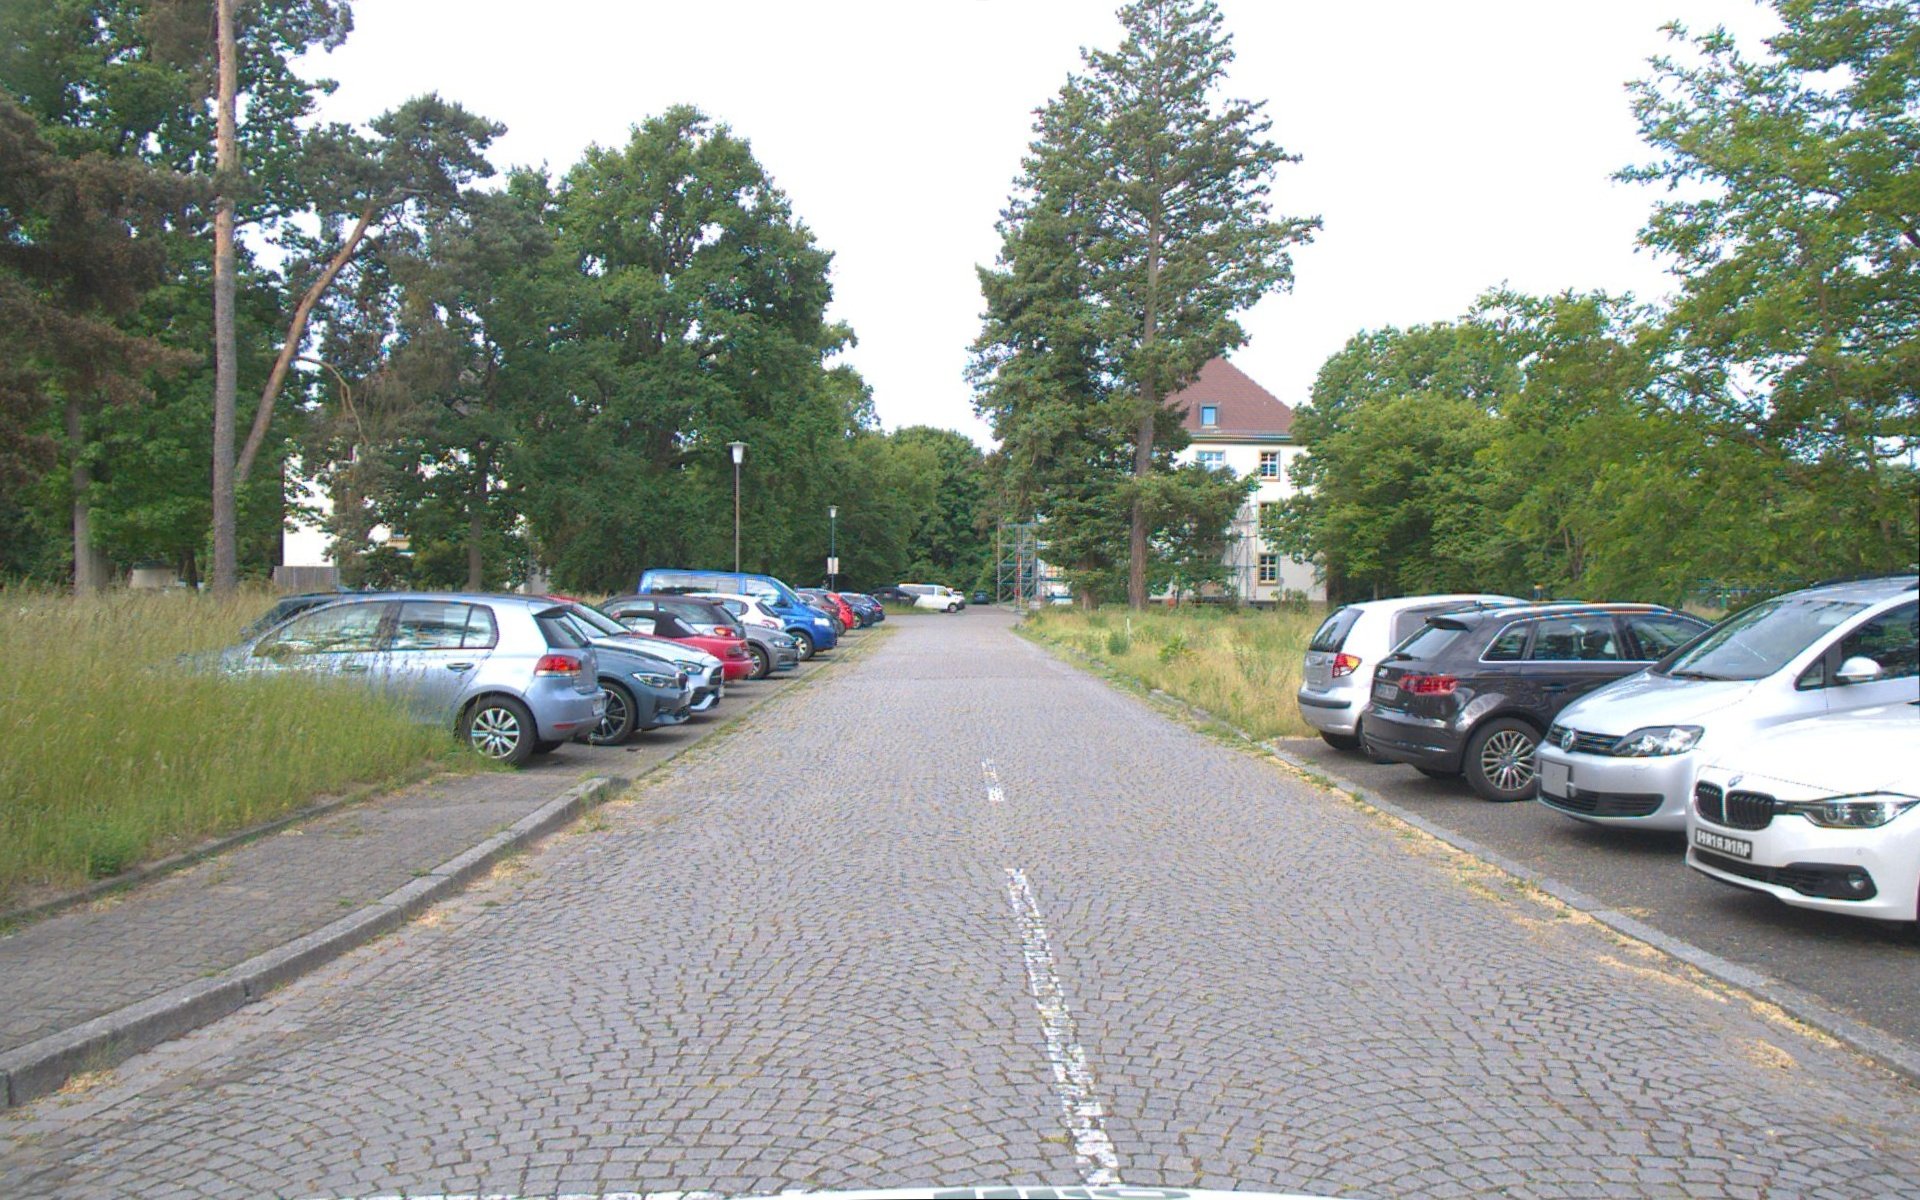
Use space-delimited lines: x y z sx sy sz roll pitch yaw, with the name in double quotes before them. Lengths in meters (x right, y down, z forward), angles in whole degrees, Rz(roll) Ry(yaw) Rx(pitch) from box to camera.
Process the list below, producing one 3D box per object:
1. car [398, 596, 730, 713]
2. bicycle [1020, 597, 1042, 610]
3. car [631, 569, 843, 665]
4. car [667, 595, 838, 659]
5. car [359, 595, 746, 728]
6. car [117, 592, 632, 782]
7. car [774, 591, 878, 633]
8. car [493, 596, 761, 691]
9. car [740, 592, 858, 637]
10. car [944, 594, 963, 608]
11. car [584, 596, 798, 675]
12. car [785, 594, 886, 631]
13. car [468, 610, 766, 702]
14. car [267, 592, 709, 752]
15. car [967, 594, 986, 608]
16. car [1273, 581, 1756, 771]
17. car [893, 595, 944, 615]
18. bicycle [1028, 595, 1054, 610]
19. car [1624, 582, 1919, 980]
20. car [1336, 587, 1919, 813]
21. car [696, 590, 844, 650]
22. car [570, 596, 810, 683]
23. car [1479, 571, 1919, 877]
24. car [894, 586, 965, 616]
"car" -5.288 0.714 22.514 4.082 1.502 1.864 0 0 -2
"bicycle" 6.888 0.329 160.617 2.194 1.276 0.634 0 0 1
"car" -5.126 0.386 38.607 4.685 2.159 2.114 0 0 -2
"car" -5.108 0.660 41.196 4.083 1.536 1.780 0 0 -3
"car" -4.855 0.713 20.225 4.286 1.534 1.934 0 0 -3
"car" -5.060 0.726 14.746 3.906 1.570 1.905 0 0 -2
"car" -5.497 0.501 68.124 4.143 1.604 1.886 1 0 -2
"car" -5.471 0.697 27.539 4.080 1.508 1.845 0 0 0
"car" -5.588 0.500 57.852 3.973 1.552 1.904 0 0 -2
"car" -0.757 0.103 187.718 2.076 1.548 3.998 0 0 -2
"car" -5.362 0.699 33.310 3.984 1.523 1.845 0 0 0
"car" -5.443 0.533 72.825 4.214 1.486 1.975 1 0 0
"car" -5.081 0.819 24.890 4.080 1.289 1.831 0 0 0
"car" -4.836 0.713 17.481 4.166 1.575 1.934 0 0 -5
"car" 1.863 0.100 188.057 1.912 1.548 3.998 0 0 -2
"car" 5.237 0.679 15.955 3.992 1.541 1.803 -3 0 -3
"car" -3.138 0.369 124.276 3.714 1.420 1.999 0 0 -4
"bicycle" 6.796 0.194 139.062 2.194 1.276 0.778 0 0 1
"car" 5.808 0.680 7.986 4.403 1.593 1.904 -3 0 -3
"car" 5.263 0.728 13.246 3.992 1.478 1.884 -3 0 -3
"car" -5.408 0.557 47.484 4.083 1.650 1.985 0 0 -4
"car" -4.888 0.695 30.367 4.080 1.517 1.865 0 0 1
"car" 5.717 0.664 10.537 4.157 1.624 1.883 -3 0 -5
"car" -2.261 0.061 121.698 5.130 2.206 1.999 0 0 -3
